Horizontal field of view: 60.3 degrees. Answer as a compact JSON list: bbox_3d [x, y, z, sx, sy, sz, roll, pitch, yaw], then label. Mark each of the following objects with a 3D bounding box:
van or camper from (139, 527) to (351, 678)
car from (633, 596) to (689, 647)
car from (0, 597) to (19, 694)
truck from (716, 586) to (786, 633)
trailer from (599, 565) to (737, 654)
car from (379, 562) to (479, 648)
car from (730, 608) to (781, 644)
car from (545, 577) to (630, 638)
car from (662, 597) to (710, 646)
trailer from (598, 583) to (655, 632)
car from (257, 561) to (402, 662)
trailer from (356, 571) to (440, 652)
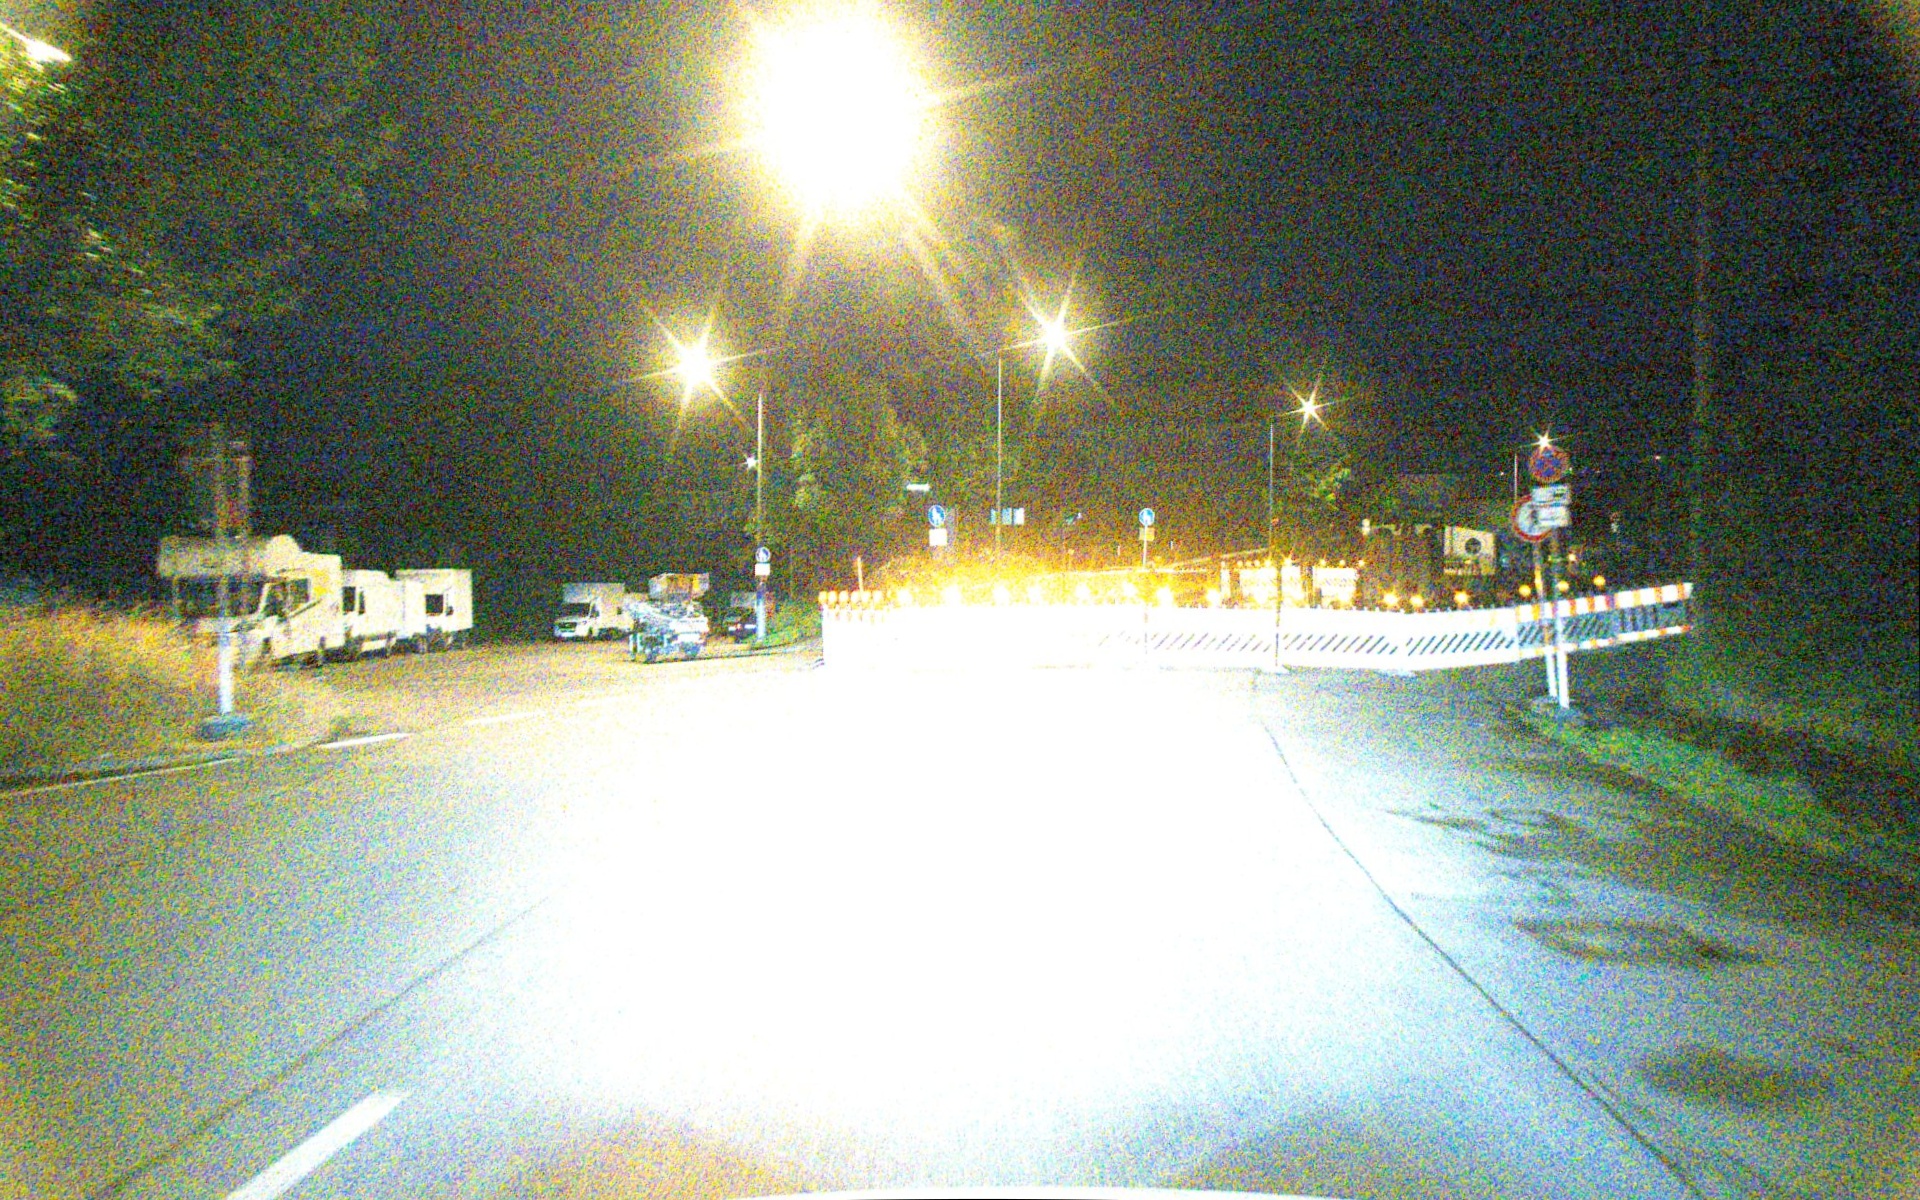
[{"bbox_3d":[-16.587,0.061,38.958,2.471,3.148,7.434,-2,0,-7],"label":"van or camper"},{"bbox_3d":[-10.579,0.776,58.708,1.688,1.690,3.993,1,-1,-7],"label":"car"},{"bbox_3d":[-30.594,1.369,47.515,1.951,2.891,6.684,1,0,16],"label":"car"},{"bbox_3d":[-16.003,0.688,127.430,1.951,3.463,8.985,1,0,16],"label":"truck"},{"bbox_3d":[-7.810,0.294,43.835,1.546,2.198,5.156,-1,-1,-35],"label":"trailer"},{"bbox_3d":[-19.851,0.188,62.221,2.473,2.978,7.185,-2,0,-9],"label":"car"},{"bbox_3d":[-10.737,1.369,87.088,1.684,1.853,4.003,1,-1,7],"label":"car"},{"bbox_3d":[-20.717,0.406,92.425,2.466,3.227,7.142,-2,0,5],"label":"car"},{"bbox_3d":[-10.902,0.872,65.977,1.688,1.853,3.993,1,-1,-7],"label":"car"},{"bbox_3d":[-19.906,0.404,98.889,1.951,2.862,4.706,0,0,7],"label":"trailer"},{"bbox_3d":[-18.159,0.317,48.058,2.473,2.651,7.075,-2,0,-9],"label":"car"},{"bbox_3d":[-18.689,0.369,55.145,1.956,2.571,3.561,-2,0,-8],"label":"trailer"}]
